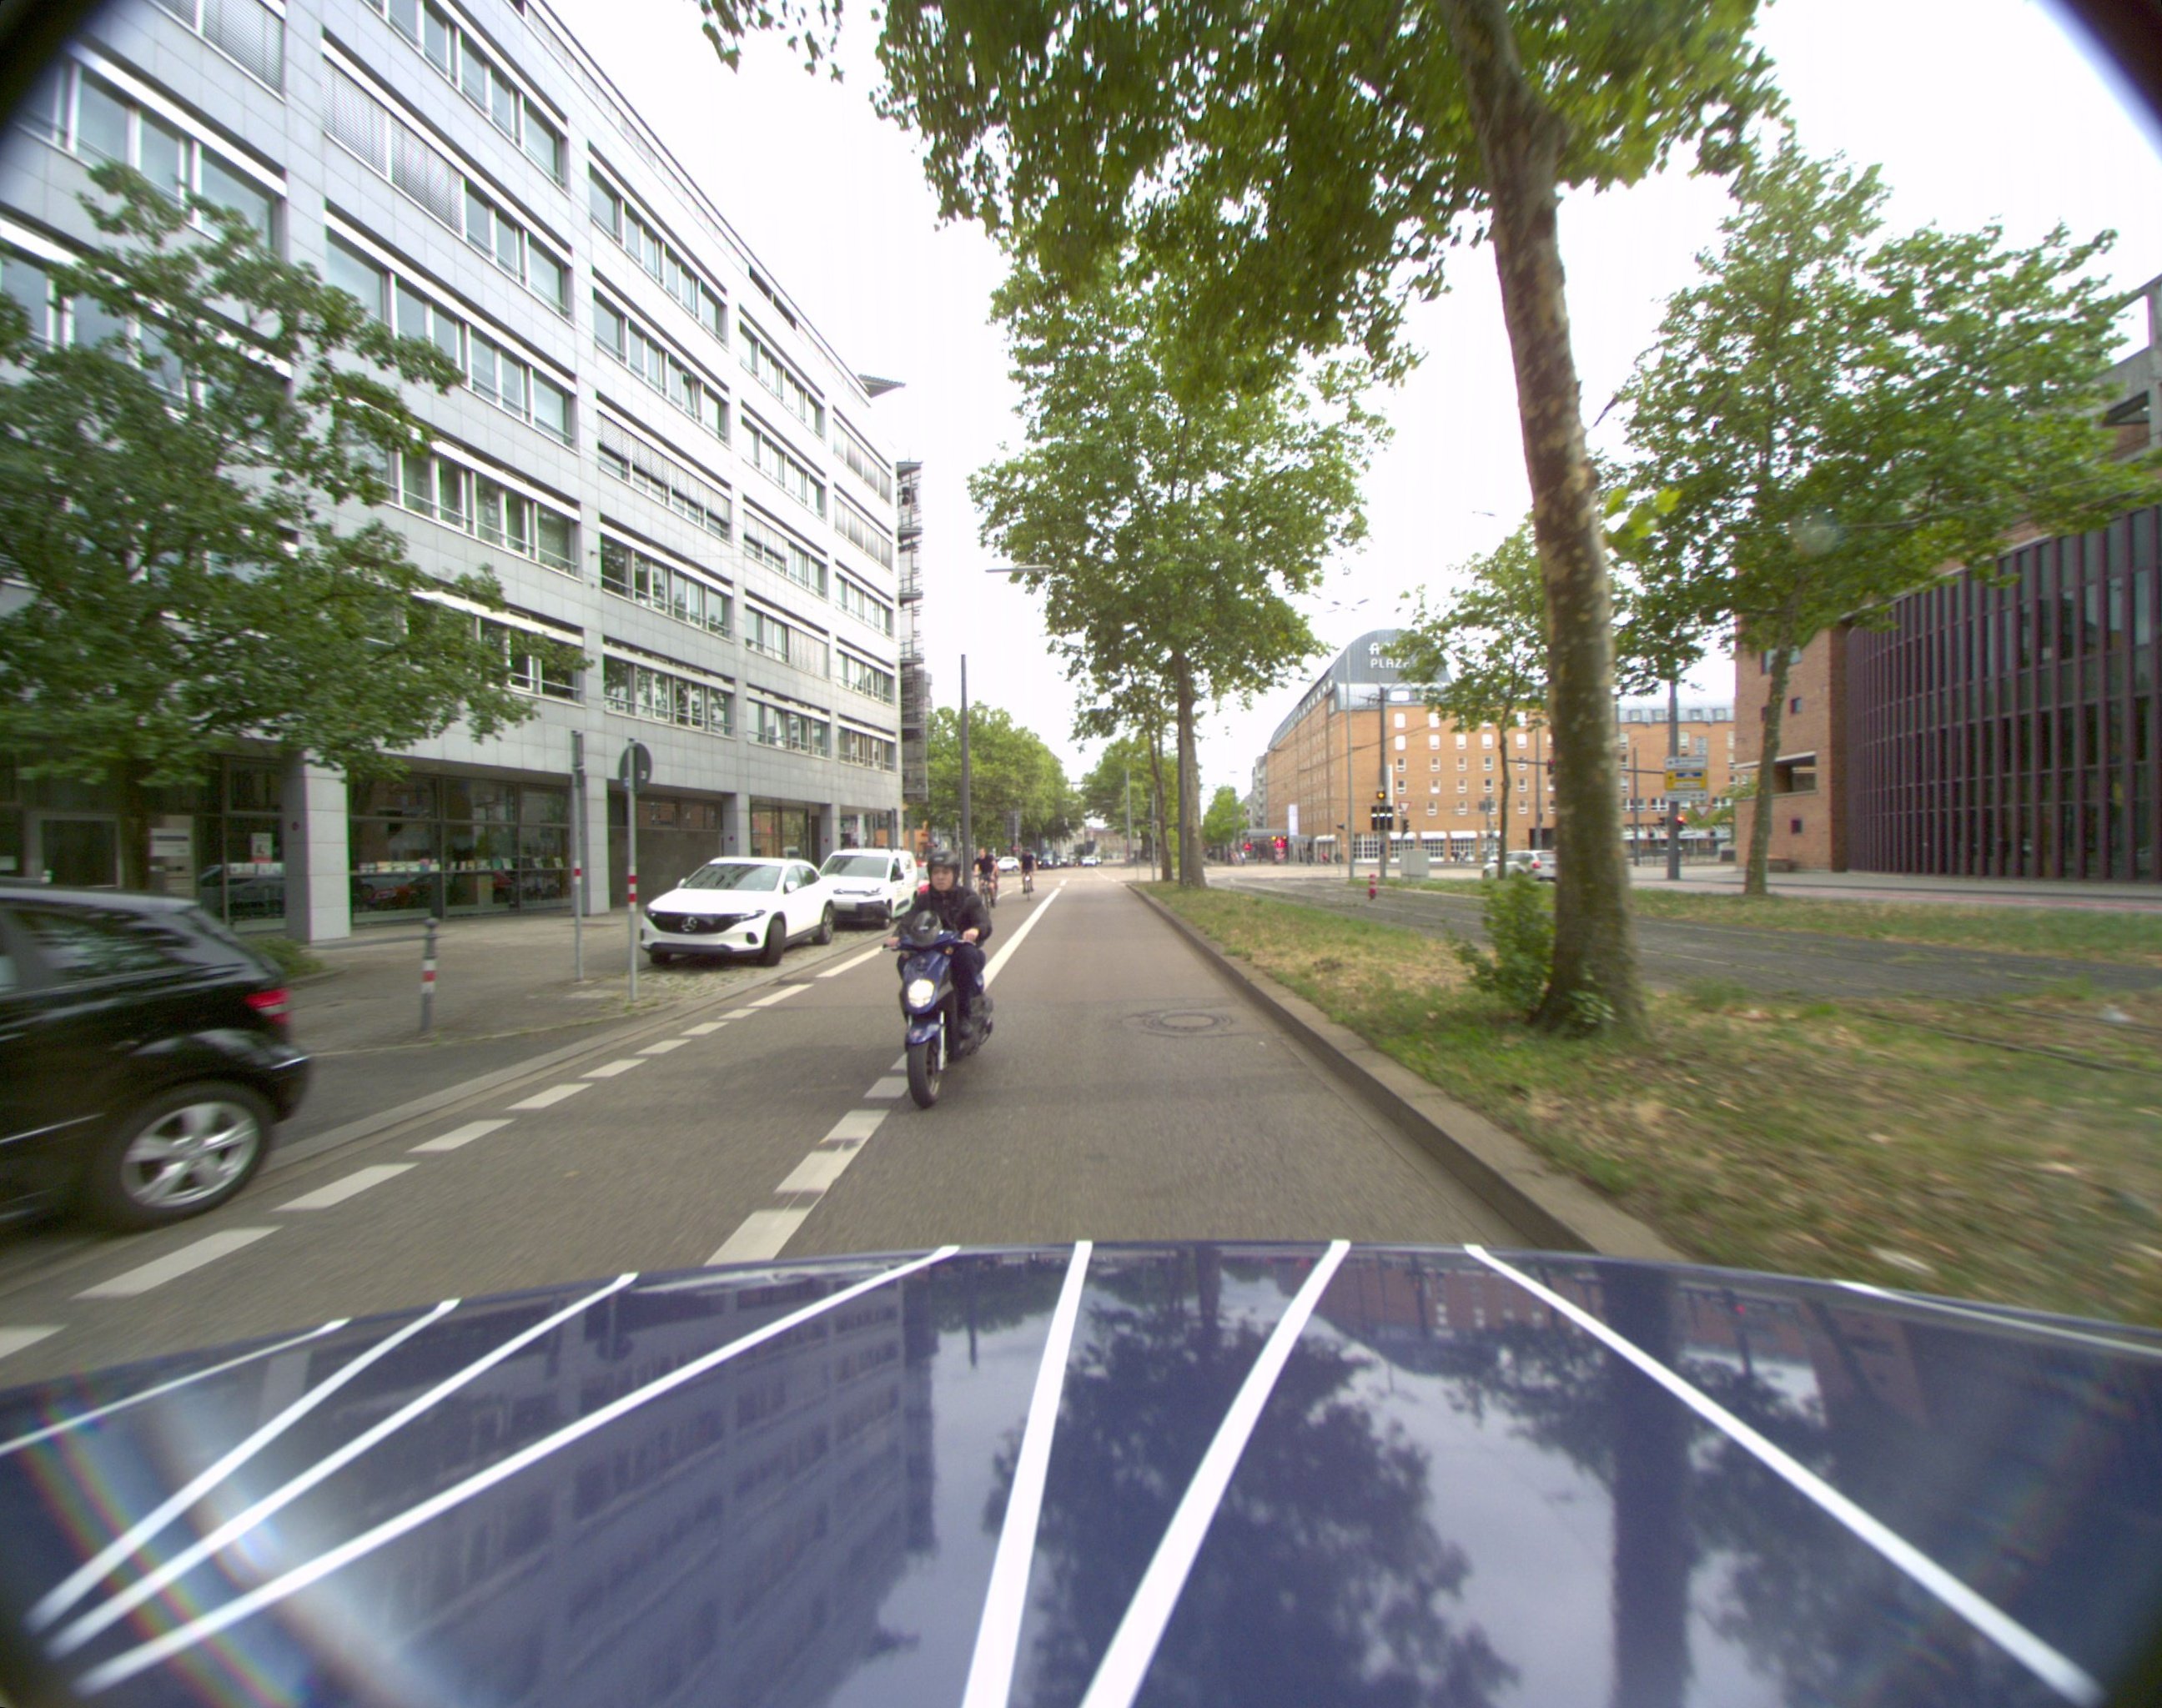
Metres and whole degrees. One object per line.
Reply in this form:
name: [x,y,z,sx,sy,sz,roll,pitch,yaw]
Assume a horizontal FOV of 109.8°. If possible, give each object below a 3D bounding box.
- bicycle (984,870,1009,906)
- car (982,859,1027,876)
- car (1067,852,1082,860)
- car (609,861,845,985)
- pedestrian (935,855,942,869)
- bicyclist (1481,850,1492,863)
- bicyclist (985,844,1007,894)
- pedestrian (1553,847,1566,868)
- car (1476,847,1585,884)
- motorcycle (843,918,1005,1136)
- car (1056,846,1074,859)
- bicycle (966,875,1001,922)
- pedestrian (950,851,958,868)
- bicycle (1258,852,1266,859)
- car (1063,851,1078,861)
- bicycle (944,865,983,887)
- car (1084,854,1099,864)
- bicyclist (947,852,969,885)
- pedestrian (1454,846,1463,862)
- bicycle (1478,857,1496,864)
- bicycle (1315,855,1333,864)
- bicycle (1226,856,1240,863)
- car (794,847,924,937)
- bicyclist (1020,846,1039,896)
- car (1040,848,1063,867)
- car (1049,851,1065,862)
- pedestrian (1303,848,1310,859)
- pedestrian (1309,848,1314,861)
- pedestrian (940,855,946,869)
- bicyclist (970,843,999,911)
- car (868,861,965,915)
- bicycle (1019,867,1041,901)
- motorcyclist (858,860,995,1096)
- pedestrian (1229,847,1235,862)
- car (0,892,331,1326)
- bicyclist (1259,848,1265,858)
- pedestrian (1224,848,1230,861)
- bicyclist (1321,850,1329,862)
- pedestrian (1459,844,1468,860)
bicycle: [-2.837,1.120,25.580,0.595,1.132,1.734,0,0,1]
car: [-8.448,1.459,84.154,4.647,1.651,1.960,-3,1,-40]
car: [-1.106,0.363,128.484,1.997,1.270,4.002,-1,1,8]
car: [-5.495,0.968,12.575,2.000,1.593,4.581,2,0,-4]
pedestrian: [-17.084,0.986,91.336,0.587,1.642,0.744,-1,1,9]
bicyclist: [46.525,0.318,87.210,0.865,1.493,0.636,-1,1,-1]
bicyclist: [-2.852,0.500,25.587,0.591,1.644,1.035,0,1,1]
pedestrian: [40.832,0.298,64.817,0.578,1.722,0.751,-1,1,-1]
car: [18.684,0.445,31.856,1.788,1.413,4.658,-1,0,0]
motorcycle: [-1.061,1.144,5.714,0.769,1.101,2.207,-1,1,-1]
car: [-2.414,-0.205,115.751,1.997,2.002,5.439,0,0,6]
bicycle: [-2.553,1.142,20.120,0.595,1.132,2.091,0,0,1]
pedestrian: [-13.781,0.609,82.427,0.678,1.781,0.669,-1,1,3]
bicycle: [28.034,0.221,117.833,0.659,0.931,1.892,-1,1,-3]
car: [-1.702,0.282,121.995,1.915,1.533,4.094,0,0,6]
bicycle: [-6.228,1.169,40.111,1.900,1.132,0.727,0,1,19]
car: [1.495,0.746,110.970,1.845,1.369,3.835,-1,-1,6]
bicyclist: [-6.513,0.764,40.197,0.914,1.754,0.720,0,1,19]
pedestrian: [42.221,0.025,84.923,0.578,1.722,0.750,-1,1,-6]
bicycle: [46.584,0.762,87.207,1.796,0.777,0.640,-1,1,-2]
bicycle: [29.799,0.691,93.032,2.056,1.002,0.640,-1,1,14]
bicycle: [18.997,0.678,95.141,1.710,0.884,0.499,-1,1,4]
car: [-5.140,0.796,18.250,1.832,1.853,4.647,1,0,-1]
bicyclist: [-1.838,0.602,27.299,0.591,1.760,1.035,0,1,1]
car: [-3.843,0.402,100.722,2.174,2.441,6.999,-1,0,5]
car: [-3.414,0.331,108.564,1.756,1.410,4.275,0,1,6]
pedestrian: [30.087,-0.026,101.381,0.536,1.498,0.648,-2,2,-33]
pedestrian: [28.703,0.063,94.607,0.563,1.696,0.535,-1,1,1]
pedestrian: [-17.477,1.021,96.258,0.587,1.722,0.744,-1,1,9]
bicyclist: [-2.554,0.596,20.237,0.591,1.758,1.035,0,1,1]
car: [-5.004,0.979,23.686,1.726,1.424,4.255,2,0,5]
bicycle: [-1.831,1.052,27.316,0.595,1.132,1.858,0,0,1]
motorcyclist: [-1.063,0.818,5.474,0.761,1.510,1.017,-1,1,-1]
pedestrian: [18.832,0.054,94.843,0.693,1.941,0.534,-1,1,-1]
car: [-5.134,1.012,1.996,1.778,1.567,4.307,1,0,7]
bicyclist: [28.026,-0.159,117.847,0.651,1.493,0.817,-1,1,-3]
pedestrian: [18.659,0.087,97.214,0.684,1.696,0.534,-1,1,-7]
bicyclist: [29.830,0.237,93.009,0.864,1.493,0.637,0,1,14]
pedestrian: [42.868,-0.230,85.092,0.578,1.722,0.750,-1,1,-6]
